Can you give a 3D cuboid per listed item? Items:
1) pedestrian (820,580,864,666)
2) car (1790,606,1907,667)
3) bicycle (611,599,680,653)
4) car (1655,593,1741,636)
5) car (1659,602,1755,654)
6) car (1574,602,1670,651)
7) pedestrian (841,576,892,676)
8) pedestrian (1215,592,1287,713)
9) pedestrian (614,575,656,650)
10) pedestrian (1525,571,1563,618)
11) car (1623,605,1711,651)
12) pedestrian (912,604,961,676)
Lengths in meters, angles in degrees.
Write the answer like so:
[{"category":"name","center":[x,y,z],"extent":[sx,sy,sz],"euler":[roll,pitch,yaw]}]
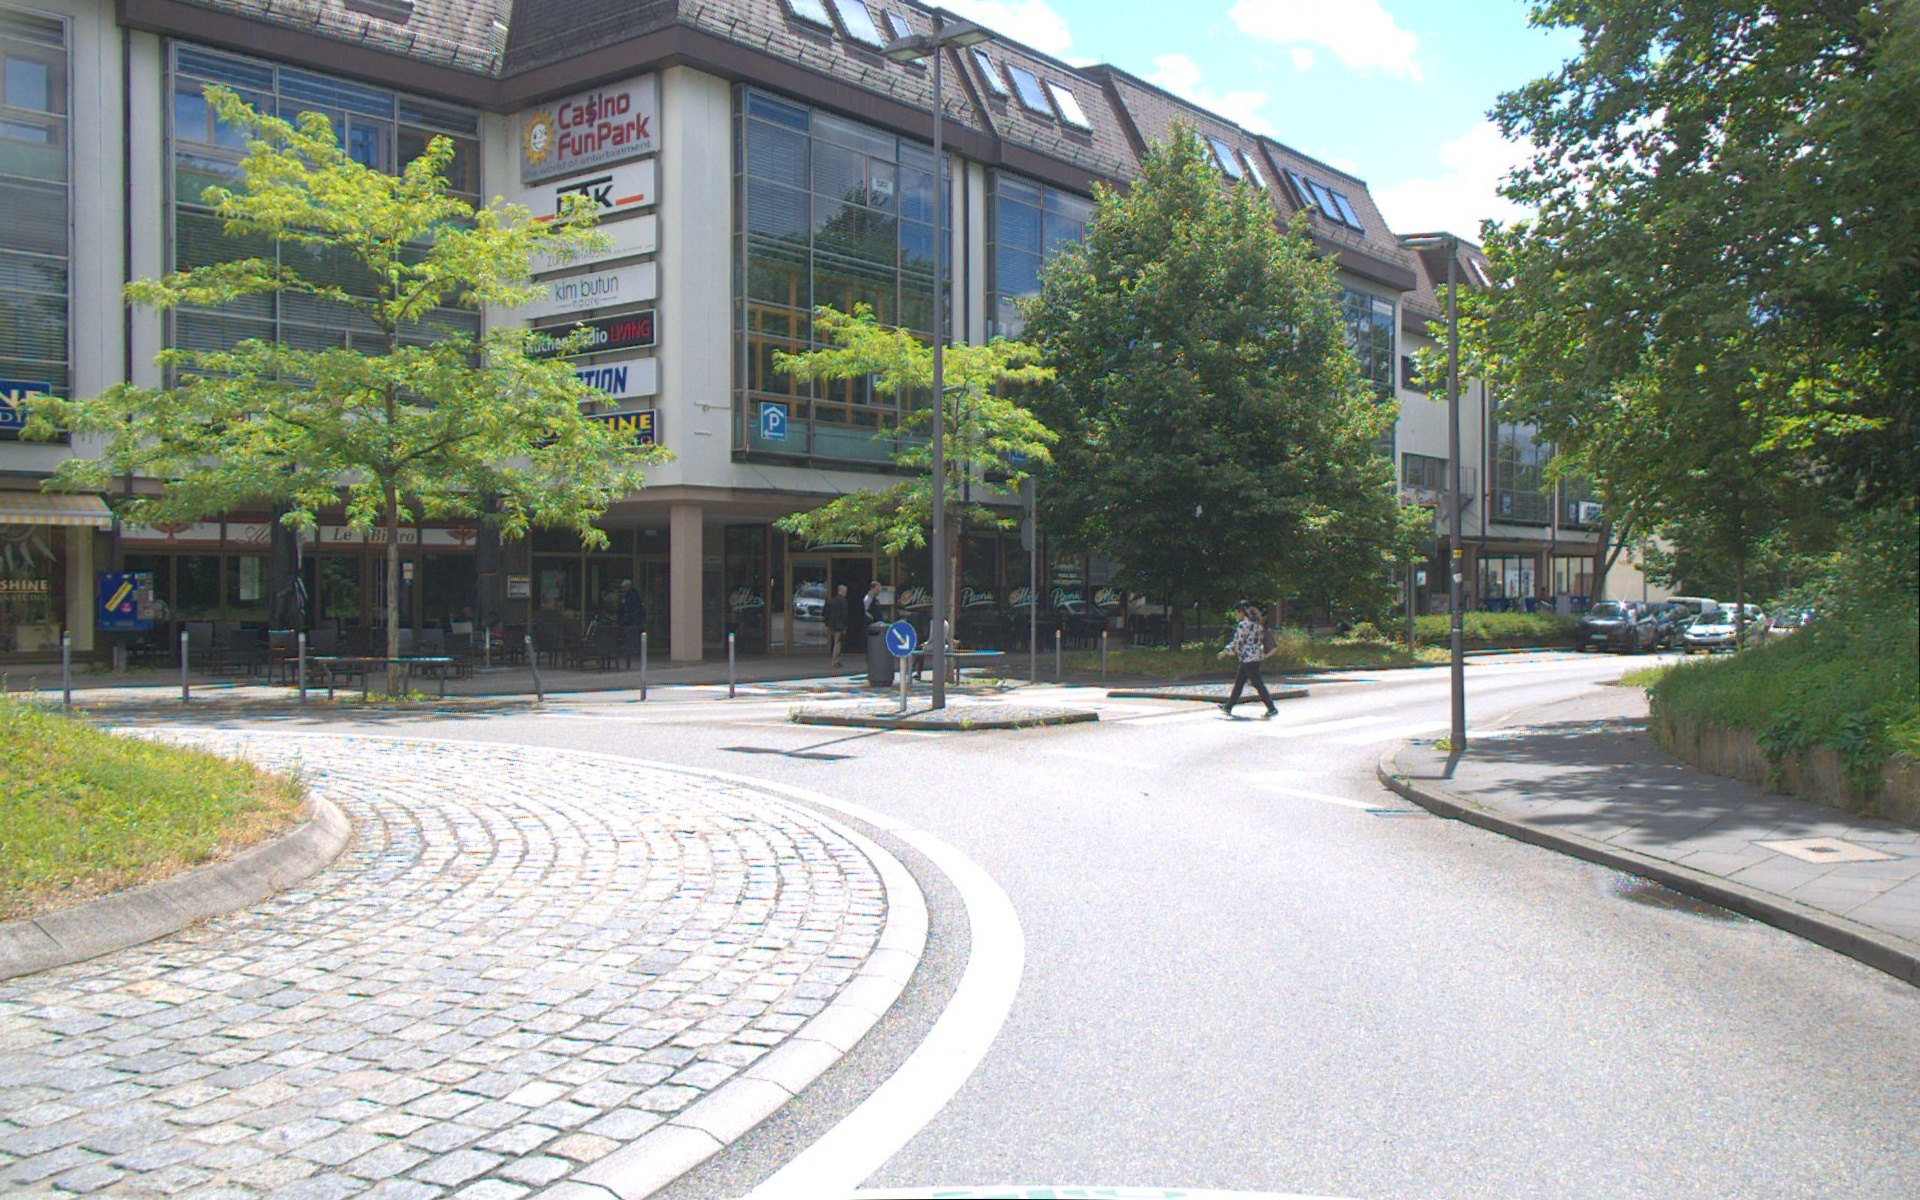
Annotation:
[{"category":"pedestrian","center":[-2.396,0.464,33.534],"extent":[0.603,1.704,0.697],"euler":[1,0,24]},{"category":"car","center":[21.473,0.865,39.924],"extent":[1.724,1.353,3.980],"euler":[-3,-2,39]},{"category":"bicycle","center":[-7.151,0.589,37.639],"extent":[1.510,1.188,0.495],"euler":[1,-1,-9]},{"category":"car","center":[28.542,0.548,63.881],"extent":[1.962,1.534,4.563],"euler":[1,0,38]},{"category":"car","center":[23.701,0.847,52.402],"extent":[1.960,1.534,4.568],"euler":[1,0,35]},{"category":"car","center":[22.104,0.851,55.110],"extent":[1.960,1.534,4.568],"euler":[1,0,35]},{"category":"pedestrian","center":[-1.785,0.481,31.670],"extent":[0.686,1.850,0.614],"euler":[1,4,43]},{"category":"pedestrian","center":[3.874,0.689,22.095],"extent":[0.748,1.581,0.778],"euler":[1,0,-6]},{"category":"pedestrian","center":[-7.442,0.282,37.898],"extent":[0.605,1.704,0.695],"euler":[1,0,37]},{"category":"pedestrian","center":[25.821,-0.252,73.128],"extent":[1.322,2.049,1.084],"euler":[0,-1,36]},{"category":"car","center":[25.274,0.960,59.050],"extent":[1.960,1.534,4.568],"euler":[1,0,35]},{"category":"pedestrian","center":[-0.435,0.745,30.834],"extent":[0.612,1.307,0.688],"euler":[1,0,-40]}]
